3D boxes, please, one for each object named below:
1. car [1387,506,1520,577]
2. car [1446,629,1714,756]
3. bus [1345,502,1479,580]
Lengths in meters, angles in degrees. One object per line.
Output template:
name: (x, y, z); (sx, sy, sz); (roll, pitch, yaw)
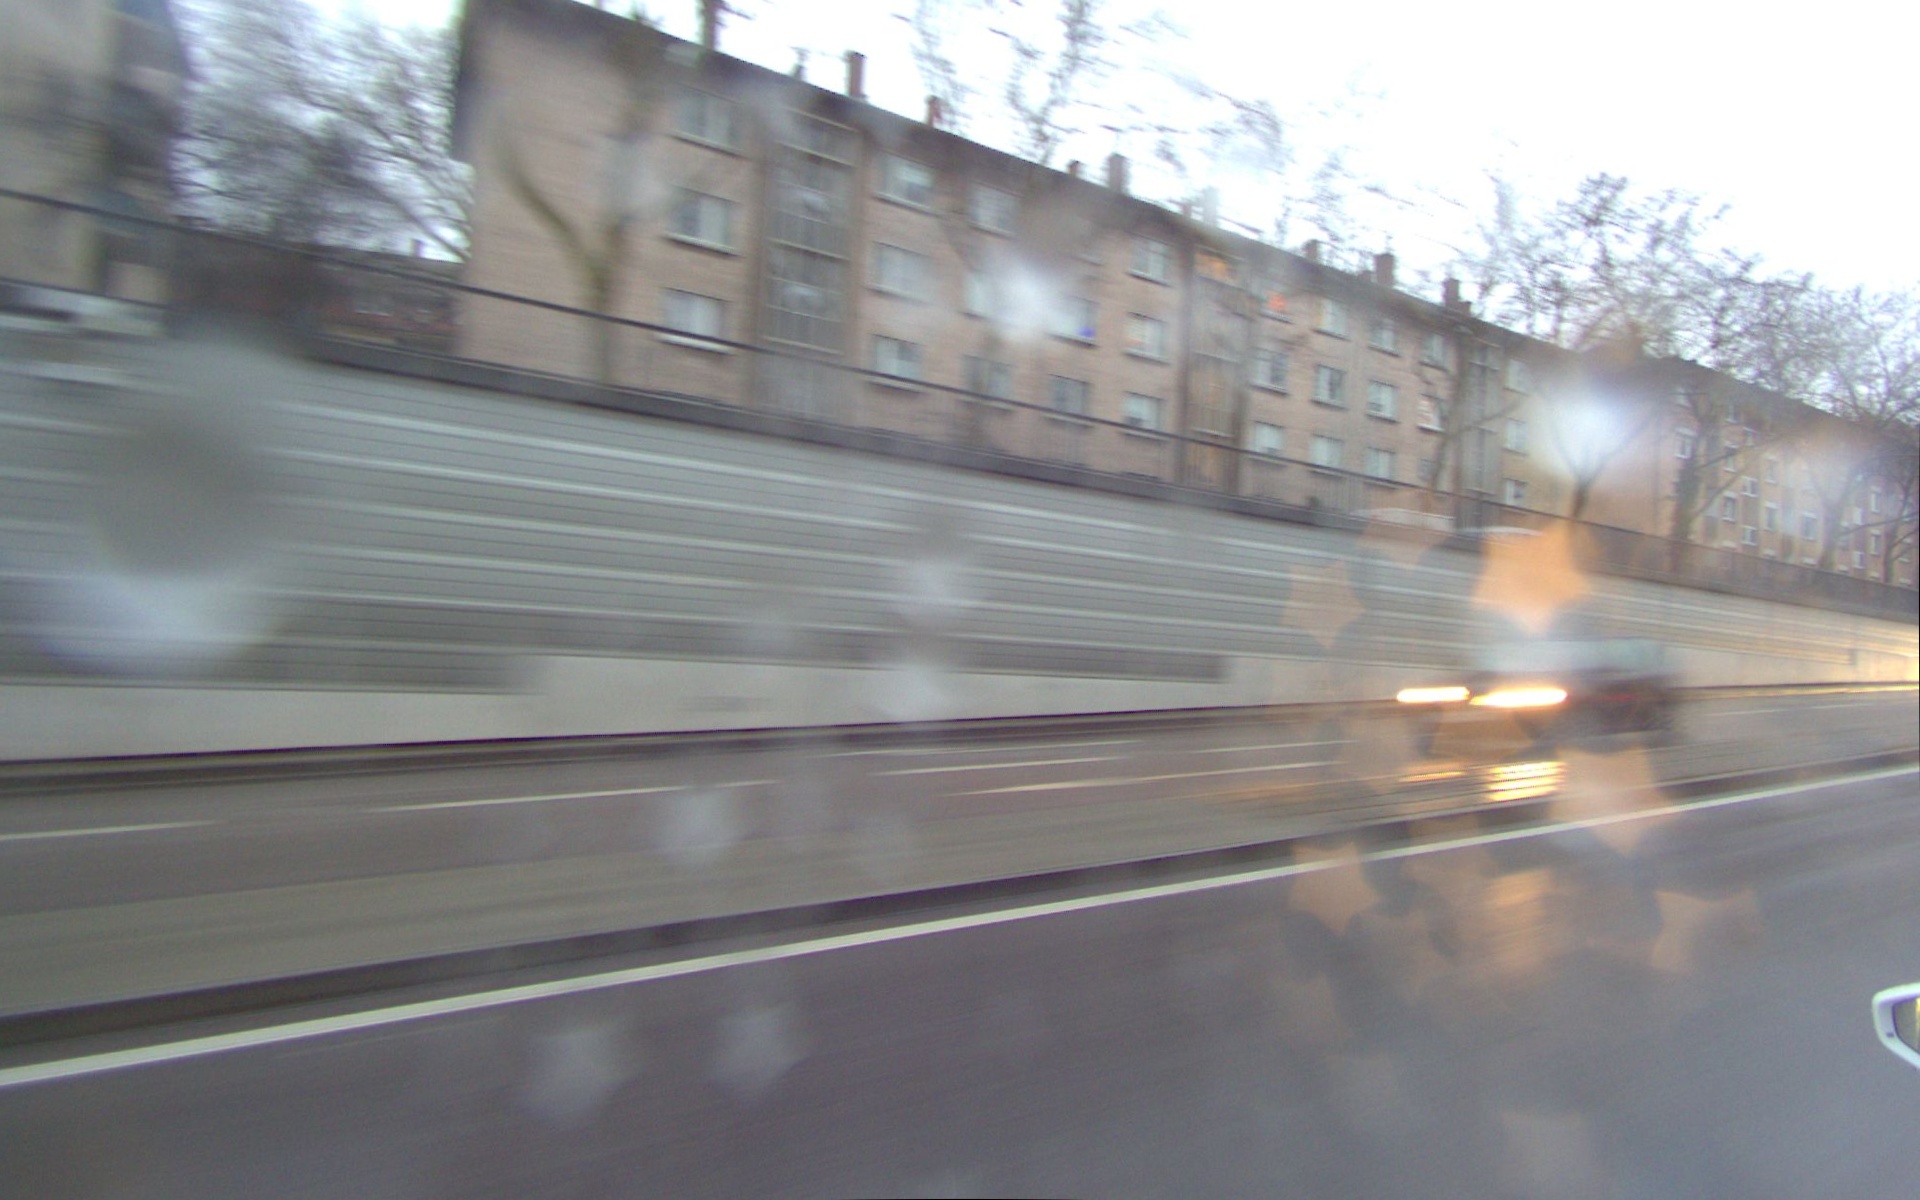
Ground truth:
car: (13.016, -1.484, 26.463); (3.366, 1.415, 1.558); (4, -5, -30)
car: (8.342, 1.147, 13.466); (3.644, 1.490, 1.564); (1, -2, -31)
bus: (14.002, -1.762, 31.093); (4.015, 1.894, 1.689); (4, -5, -28)
